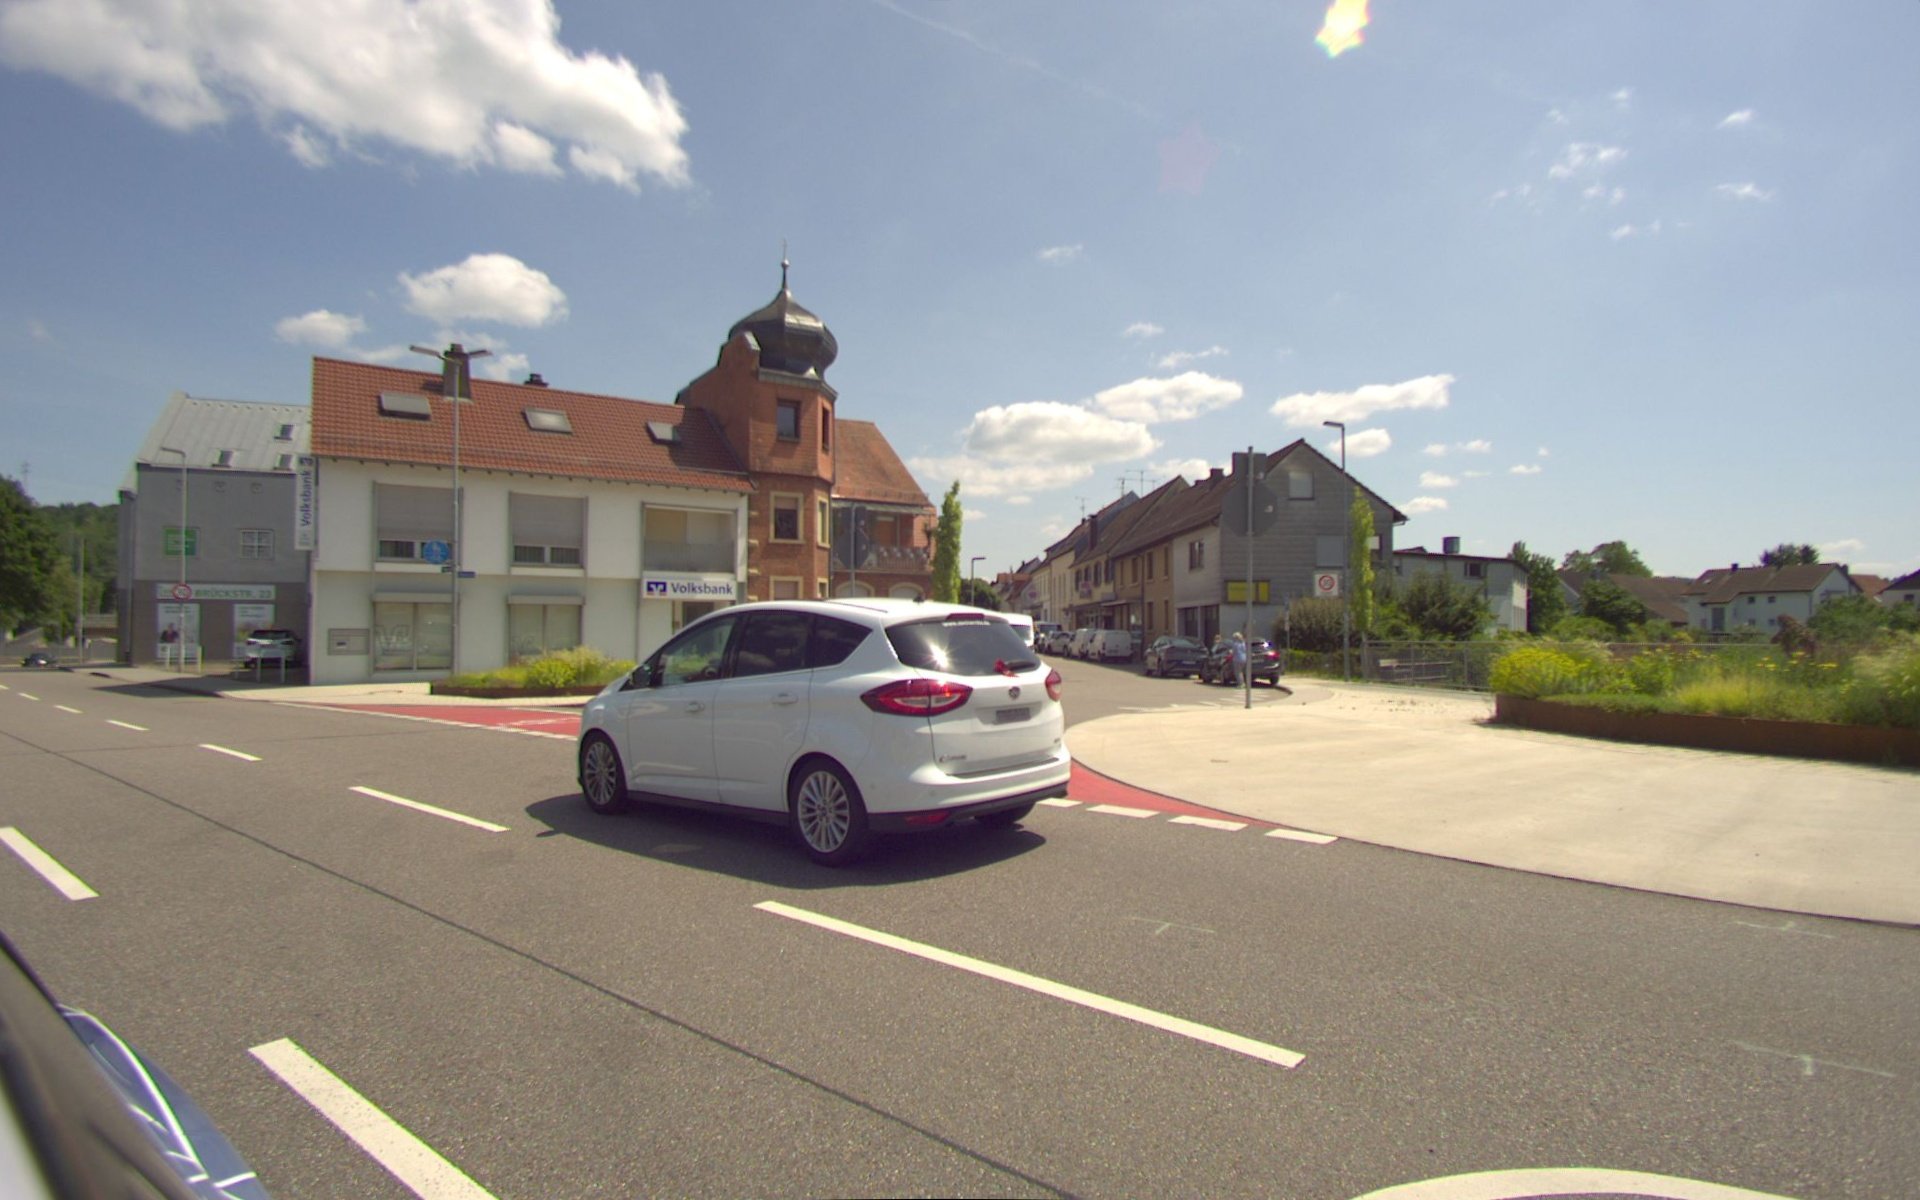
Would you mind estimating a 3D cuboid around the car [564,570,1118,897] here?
[{"bbox_3d":[-1.050,0.713,7.198,4.001,1.662,1.795,-1,-1,44],"label":"car"}]

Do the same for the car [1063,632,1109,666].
[{"bbox_3d":[7.458,2.893,60.251,1.894,1.892,4.004,1,-2,-4],"label":"car"}]

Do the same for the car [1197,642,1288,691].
[{"bbox_3d":[9.064,2.108,32.785,1.835,1.475,3.999,0,-2,0],"label":"car"}]

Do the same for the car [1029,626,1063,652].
[{"bbox_3d":[6.386,2.898,75.366,1.839,1.864,4.004,1,-2,-5],"label":"car"}]

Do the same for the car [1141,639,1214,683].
[{"bbox_3d":[8.326,2.304,39.099,1.762,1.559,4.235,1,-2,-2],"label":"car"}]

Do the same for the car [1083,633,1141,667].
[{"bbox_3d":[8.271,2.726,55.282,2.036,1.741,4.007,1,-2,-8],"label":"car"}]

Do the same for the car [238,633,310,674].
[{"bbox_3d":[-28.612,2.243,42.334,1.965,1.587,4.266,2,-3,-27],"label":"car"}]

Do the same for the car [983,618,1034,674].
[{"bbox_3d":[2.160,2.090,46.293,2.144,2.363,5.108,1,-2,2],"label":"car"}]

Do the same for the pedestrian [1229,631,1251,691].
[{"bbox_3d":[8.286,1.789,29.937,0.500,1.762,0.614,0,-2,5],"label":"pedestrian"}]
